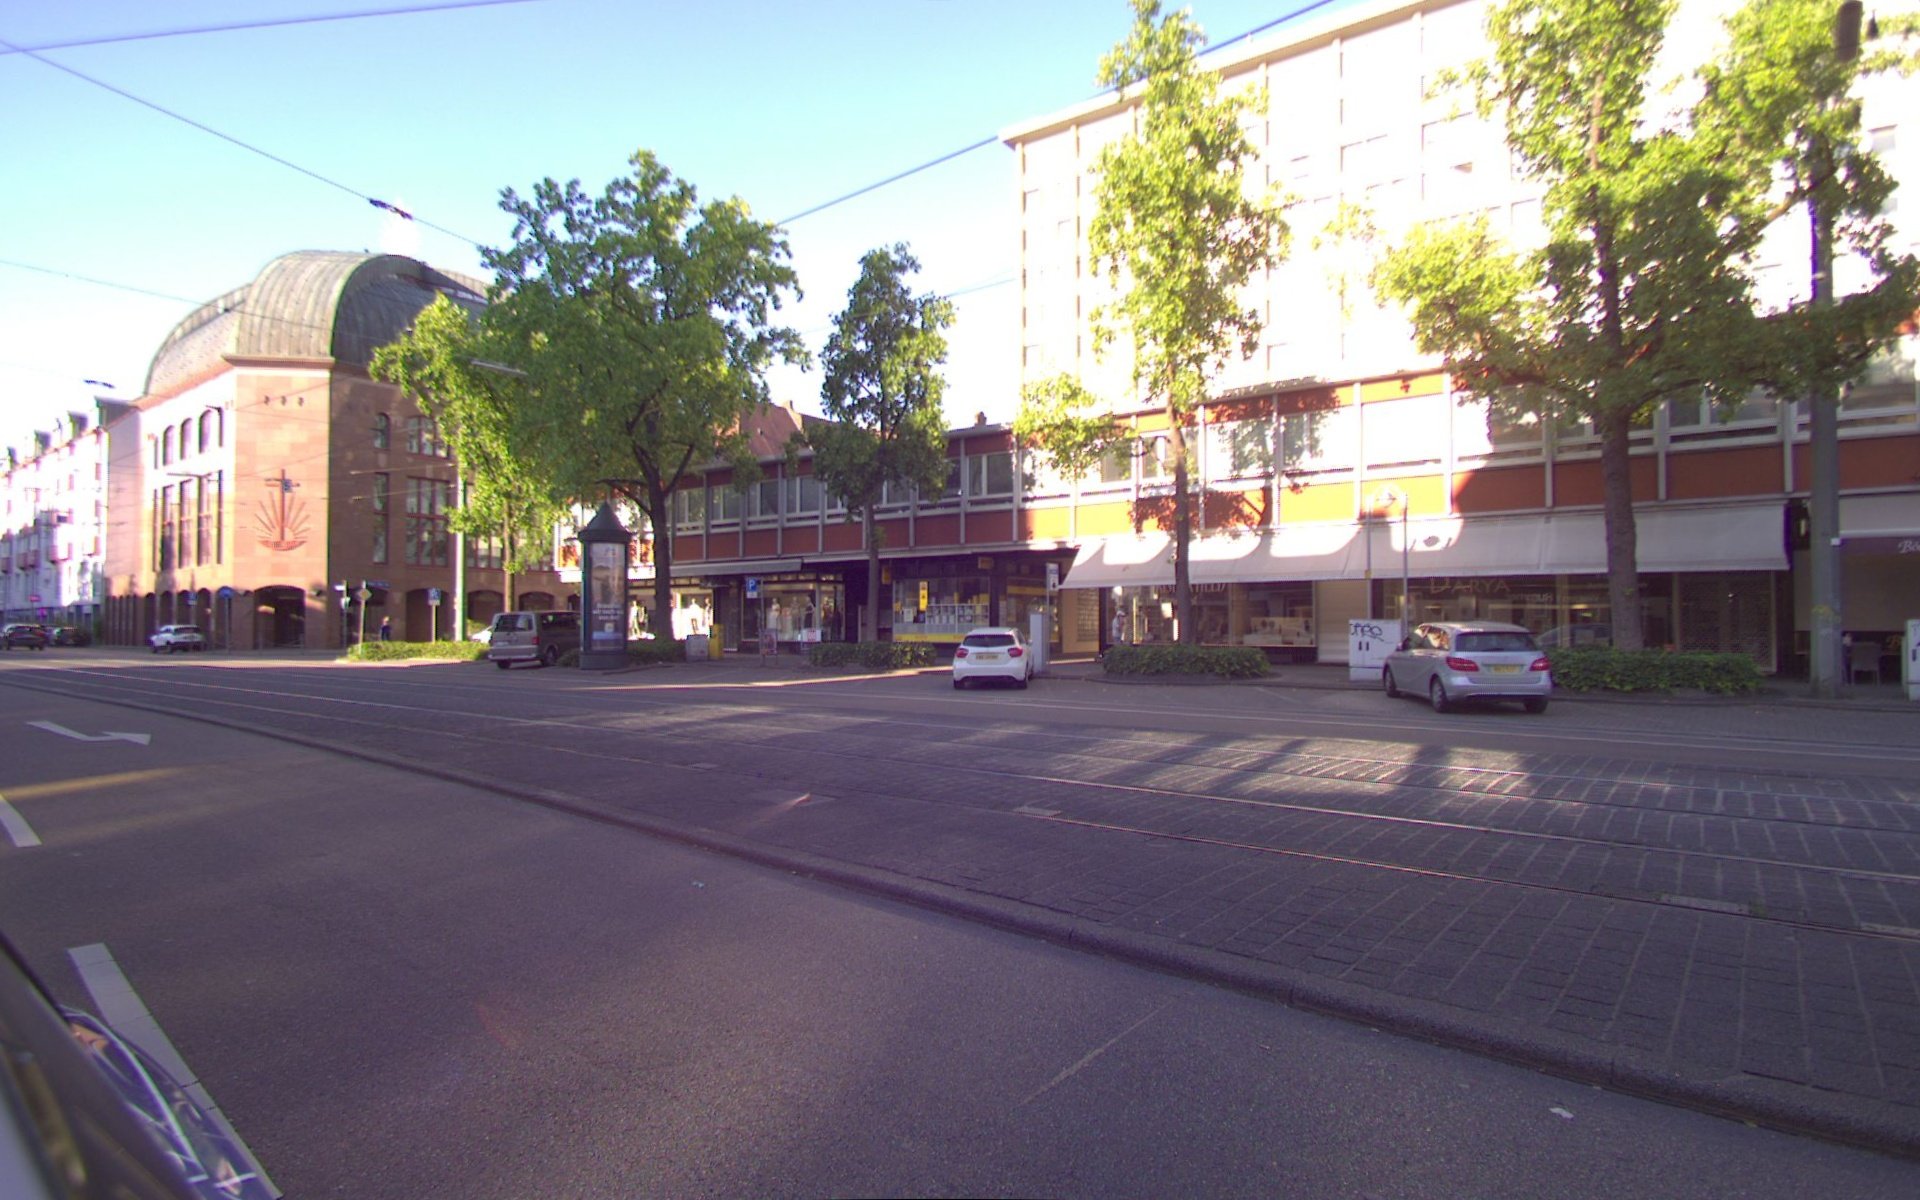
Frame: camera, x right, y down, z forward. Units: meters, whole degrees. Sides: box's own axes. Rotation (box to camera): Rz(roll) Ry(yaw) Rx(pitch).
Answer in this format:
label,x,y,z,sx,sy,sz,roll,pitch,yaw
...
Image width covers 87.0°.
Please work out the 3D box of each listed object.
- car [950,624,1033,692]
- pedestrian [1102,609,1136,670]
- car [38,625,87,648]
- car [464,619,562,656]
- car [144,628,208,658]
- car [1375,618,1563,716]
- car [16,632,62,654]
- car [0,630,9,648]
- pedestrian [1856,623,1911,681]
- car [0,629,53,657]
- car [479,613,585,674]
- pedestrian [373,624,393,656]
label,x,y,z,sx,sy,sz,roll,pitch,yaw
car,0.863,1.390,25.237,1.776,1.486,3.992,-1,-1,6
pedestrian,4.719,1.173,30.055,0.626,1.782,0.770,1,-1,-36
car,-66.485,2.707,74.932,3.992,1.615,1.942,-1,-1,36
car,-25.874,2.159,58.737,1.996,2.029,4.926,-1,-2,36
car,-45.168,2.446,58.303,3.992,1.615,1.888,-1,-1,36
car,9.218,1.148,18.705,1.776,1.566,3.992,-1,-1,6
car,-71.661,3.300,78.726,3.992,1.615,1.942,-1,-1,36
car,-86.755,3.501,90.431,3.992,1.615,1.942,-1,-1,36
pedestrian,19.526,1.089,21.409,0.726,1.181,0.770,-1,-2,35
car,-57.413,2.587,62.053,3.992,1.615,1.942,-1,-1,36
car,-14.909,1.462,35.495,1.886,1.979,3.996,-1,-1,3
pedestrian,-32.065,2.193,56.234,0.548,1.761,0.780,-2,-3,41
